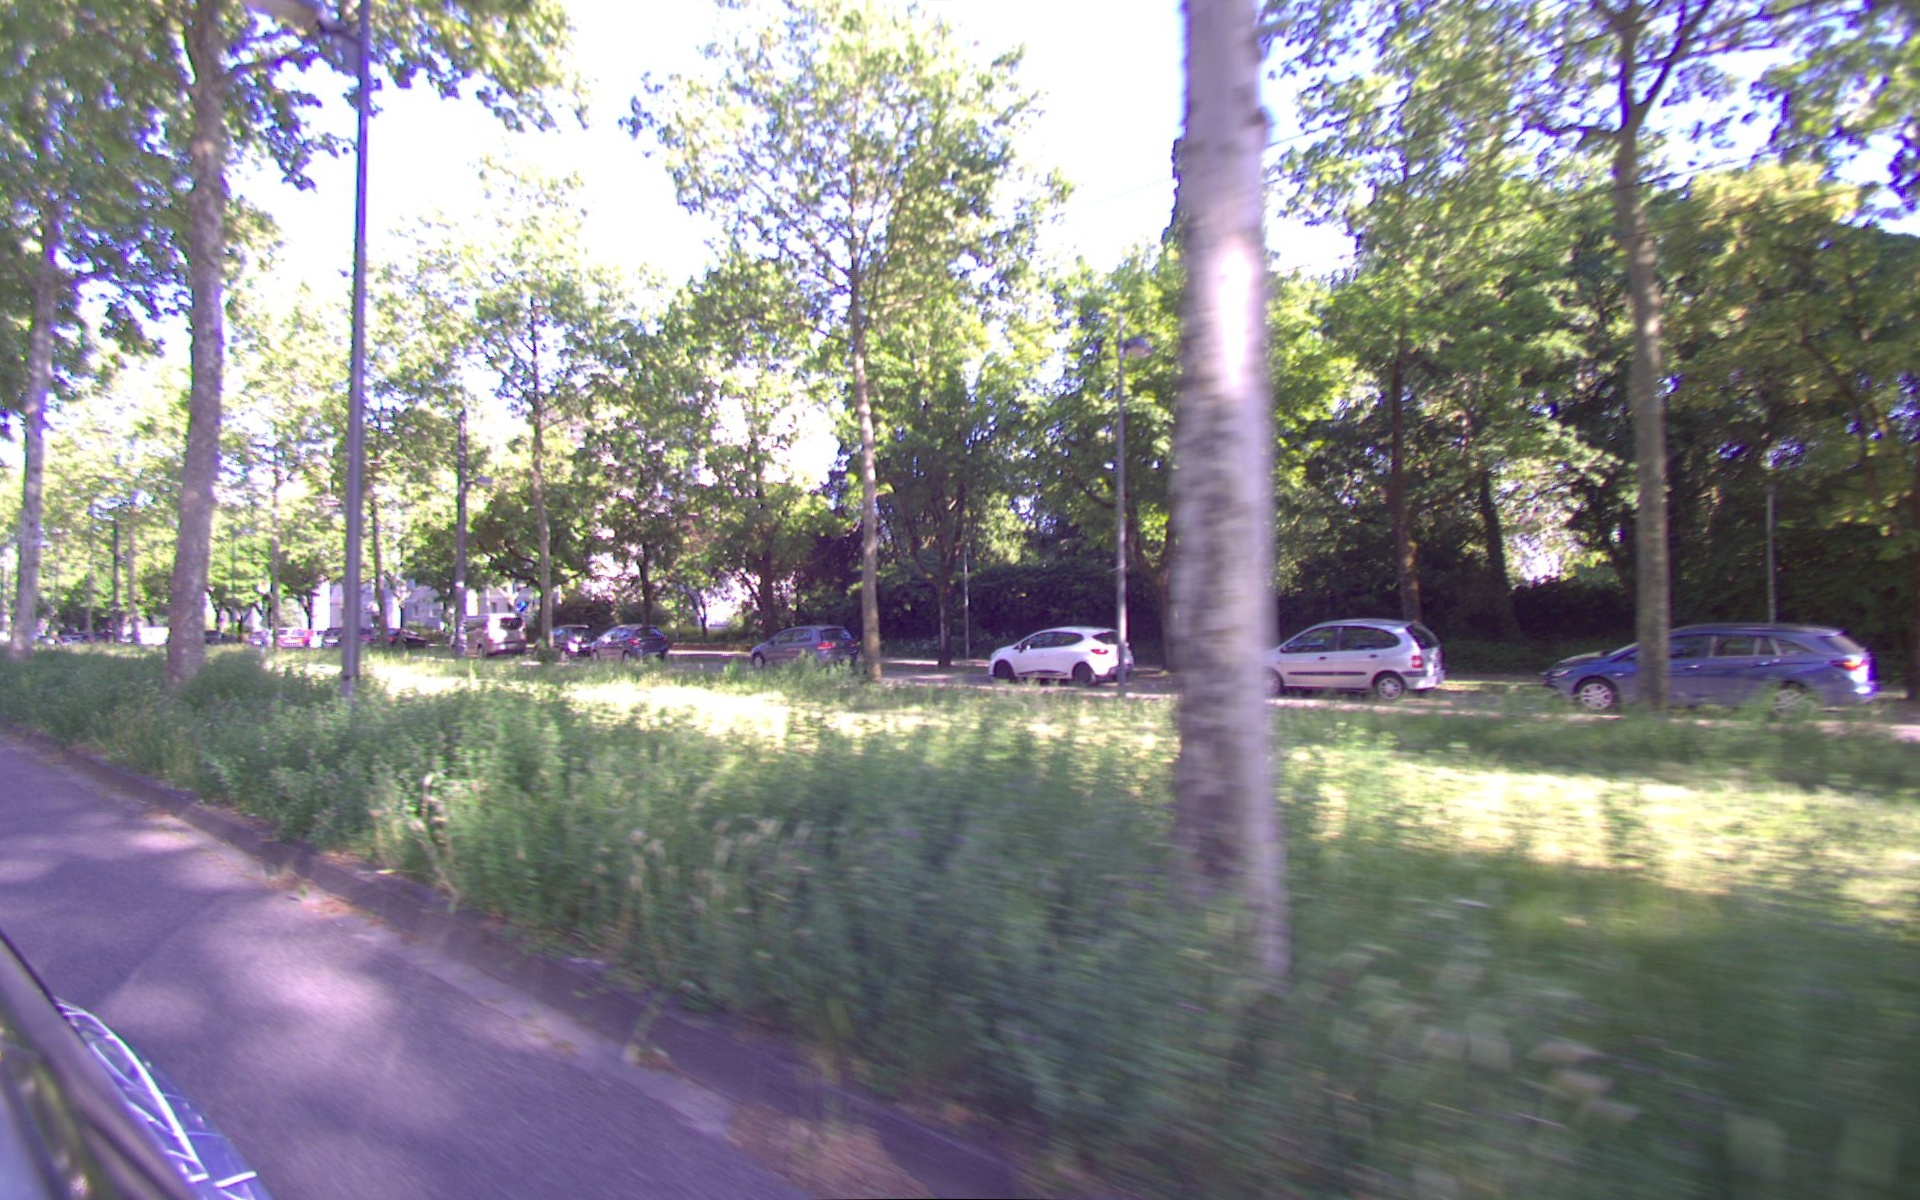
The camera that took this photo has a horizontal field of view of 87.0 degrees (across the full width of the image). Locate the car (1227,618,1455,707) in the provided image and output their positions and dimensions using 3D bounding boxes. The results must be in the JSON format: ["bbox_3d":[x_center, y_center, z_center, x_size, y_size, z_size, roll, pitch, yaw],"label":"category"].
[{"bbox_3d":[8.076,1.249,21.642,4.188,1.608,1.796,-1,2,42],"label":"car"}]

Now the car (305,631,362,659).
[{"bbox_3d":[-41.511,2.951,67.165,1.868,1.722,4.511,-1,0,-13],"label":"car"}]

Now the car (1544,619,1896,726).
[{"bbox_3d":[12.877,1.127,17.385,4.626,1.499,1.878,-1,2,42],"label":"car"}]

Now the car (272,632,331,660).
[{"bbox_3d":[-44.123,3.045,67.881,1.868,1.722,4.511,-1,0,-13],"label":"car"}]

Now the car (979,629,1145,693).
[{"bbox_3d":[2.594,1.519,26.233,4.022,1.429,1.701,-1,1,42],"label":"car"}]

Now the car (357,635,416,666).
[{"bbox_3d":[-32.751,2.867,57.872,1.858,1.579,4.010,-1,0,-13],"label":"car"}]

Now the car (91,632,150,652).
[{"bbox_3d":[-77.780,3.905,93.827,1.821,1.722,3.988,-1,0,9],"label":"car"}]

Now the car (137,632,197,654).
[{"bbox_3d":[-69.719,3.774,89.043,1.821,1.722,3.988,-1,0,9],"label":"car"}]

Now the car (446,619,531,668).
[{"bbox_3d":[-22.184,2.007,47.587,4.275,2.072,1.962,-1,2,40],"label":"car"}]

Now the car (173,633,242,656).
[{"bbox_3d":[-61.612,3.635,82.934,1.879,1.722,4.487,-1,0,9],"label":"car"}]

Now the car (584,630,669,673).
[{"bbox_3d":[-13.082,1.989,39.626,3.568,1.499,1.525,-2,1,41],"label":"car"}]

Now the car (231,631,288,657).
[{"bbox_3d":[-50.317,3.134,72.770,1.868,1.722,4.511,-1,0,-13],"label":"car"}]

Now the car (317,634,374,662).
[{"bbox_3d":[-38.469,2.971,63.435,1.858,1.579,4.010,-1,0,-13],"label":"car"}]

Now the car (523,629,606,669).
[{"bbox_3d":[-16.955,2.062,43.297,3.816,1.507,1.732,-1,2,41],"label":"car"}]

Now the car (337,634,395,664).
[{"bbox_3d":[-35.826,2.925,61.138,1.858,1.579,4.010,-1,0,-13],"label":"car"}]

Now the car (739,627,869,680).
[{"bbox_3d":[-5.136,1.714,33.046,4.175,1.499,1.820,-2,2,40],"label":"car"}]

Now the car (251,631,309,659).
[{"bbox_3d":[-47.598,3.107,70.905,1.868,1.722,4.511,-1,0,-13],"label":"car"}]
